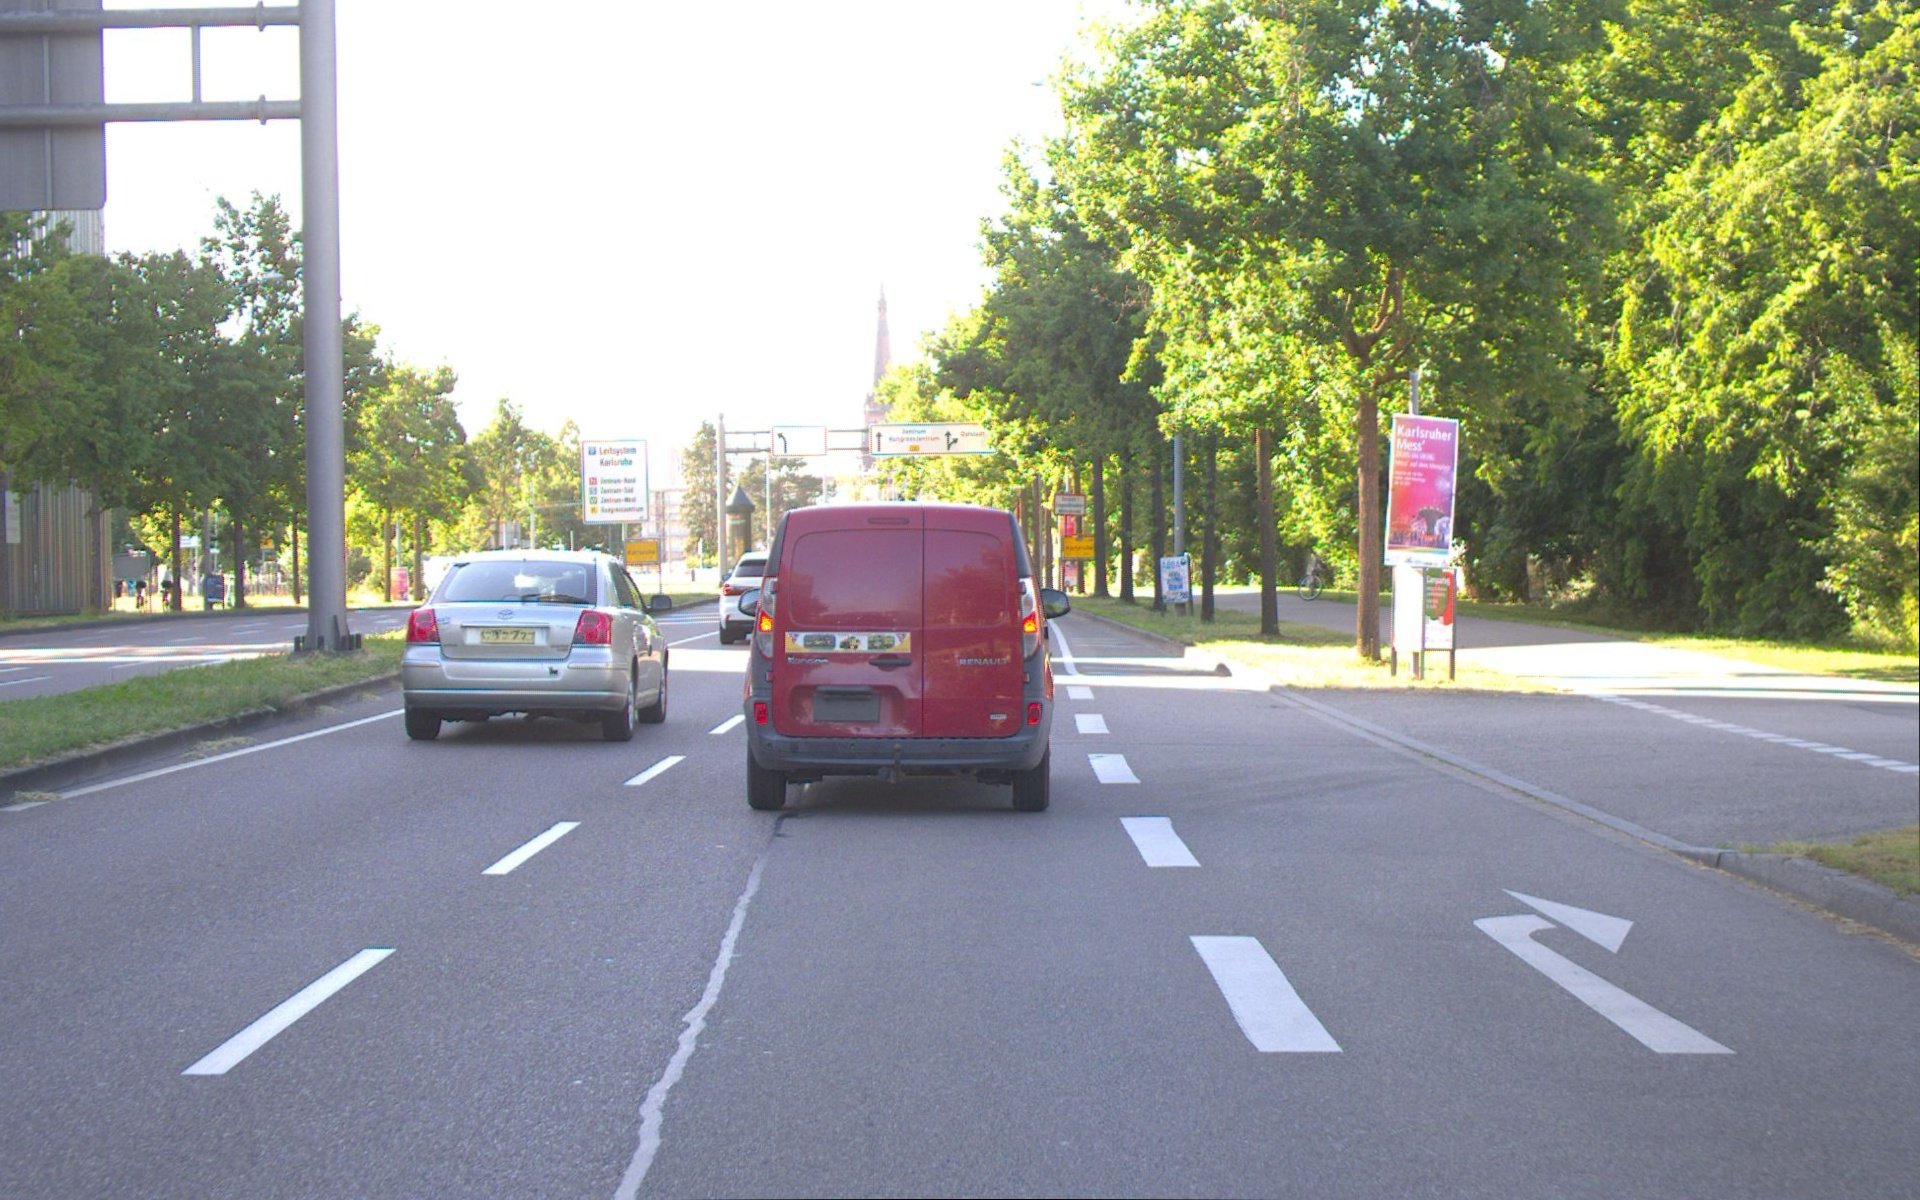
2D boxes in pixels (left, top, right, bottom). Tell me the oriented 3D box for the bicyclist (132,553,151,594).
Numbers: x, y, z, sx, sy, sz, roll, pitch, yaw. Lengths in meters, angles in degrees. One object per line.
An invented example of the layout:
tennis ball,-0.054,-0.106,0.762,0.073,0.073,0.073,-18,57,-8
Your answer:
bicyclist,-28.439,-0.913,119.438,0.482,1.390,0.844,-1,0,-2

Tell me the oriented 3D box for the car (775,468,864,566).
car,-2.723,-1.600,67.369,1.661,1.850,3.559,-1,1,-1

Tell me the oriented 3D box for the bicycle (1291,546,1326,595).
bicycle,8.065,-0.689,79.558,0.774,1.127,1.708,-1,1,7

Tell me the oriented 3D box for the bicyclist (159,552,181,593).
bicyclist,-27.384,-0.948,119.173,0.562,1.387,0.747,-1,0,-2

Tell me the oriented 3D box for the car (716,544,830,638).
car,-2.879,-0.159,53.511,1.661,1.393,3.559,-1,1,-1

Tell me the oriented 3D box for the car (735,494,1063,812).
car,-0.387,0.268,21.044,1.806,1.753,4.006,0,1,-1

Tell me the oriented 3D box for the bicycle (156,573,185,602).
bicycle,-27.376,-0.440,119.209,0.570,1.000,2.096,-1,0,-2

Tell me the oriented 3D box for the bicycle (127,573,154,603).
bicycle,-28.420,-0.417,119.275,0.487,1.000,2.096,-1,0,-2

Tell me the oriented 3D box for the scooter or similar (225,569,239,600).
scooter or similar,-27.105,-0.569,128.051,0.231,1.145,1.327,-1,0,-1

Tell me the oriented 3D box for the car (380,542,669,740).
car,-3.401,0.275,27.544,1.841,1.451,4.162,0,1,-1
